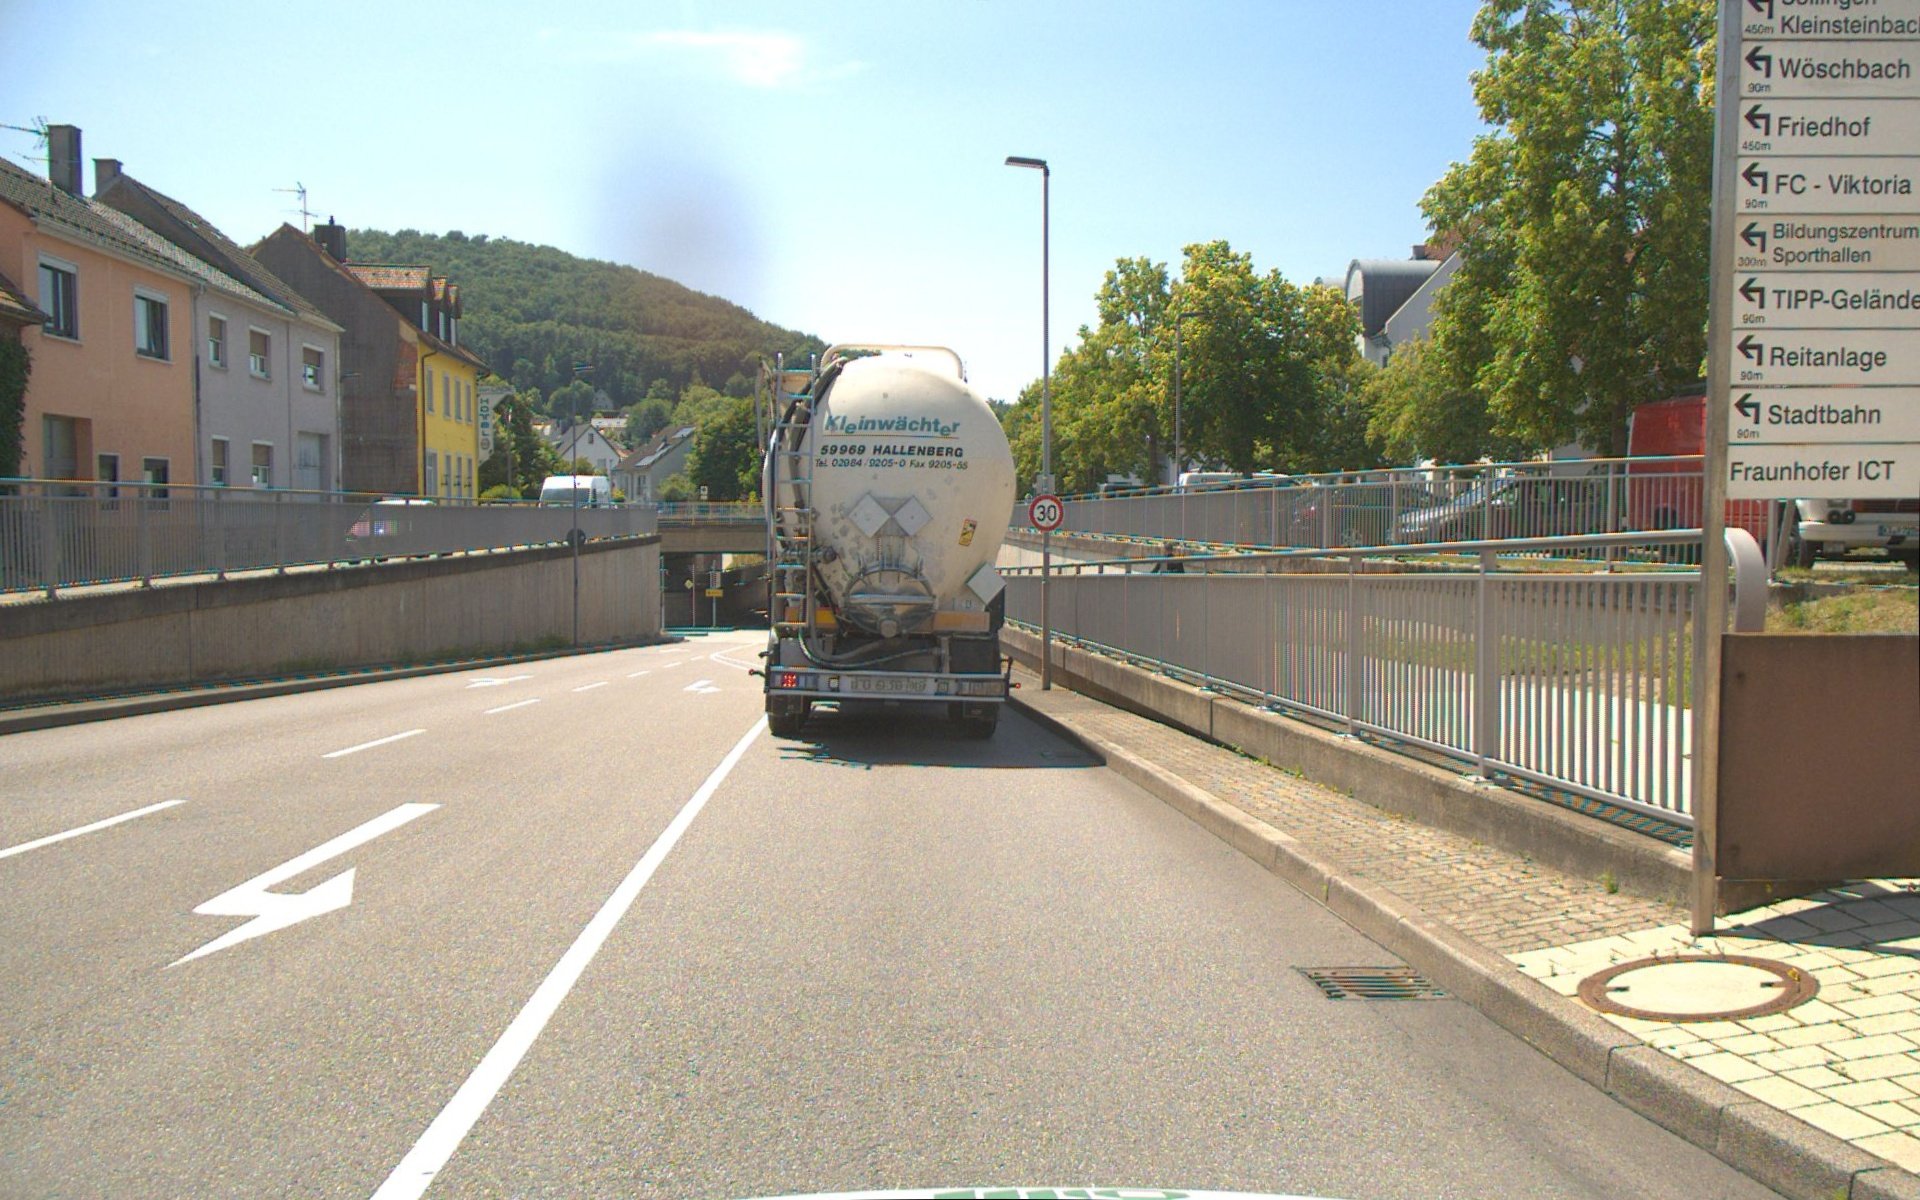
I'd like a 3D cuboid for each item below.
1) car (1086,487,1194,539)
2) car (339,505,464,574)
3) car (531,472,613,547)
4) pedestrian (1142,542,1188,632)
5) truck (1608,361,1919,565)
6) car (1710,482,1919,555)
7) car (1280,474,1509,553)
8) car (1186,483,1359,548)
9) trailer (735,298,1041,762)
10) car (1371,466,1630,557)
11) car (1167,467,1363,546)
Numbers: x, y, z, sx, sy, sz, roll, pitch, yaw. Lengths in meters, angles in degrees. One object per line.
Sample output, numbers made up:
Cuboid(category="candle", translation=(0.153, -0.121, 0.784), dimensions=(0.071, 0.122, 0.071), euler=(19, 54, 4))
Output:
Cuboid(category="car", translation=(6.759, -3.281, 62.344), dimensions=(3.827, 1.917, 1.686), euler=(0, 2, -3))
Cuboid(category="car", translation=(-13.155, -1.459, 39.221), dimensions=(1.777, 1.487, 4.307), euler=(1, 3, -4))
Cuboid(category="car", translation=(-14.425, -3.356, 61.774), dimensions=(2.025, 2.580, 5.658), euler=(1, 3, -4))
Cuboid(category="pedestrian", translation=(4.186, -0.267, 33.828), dimensions=(0.819, 1.813, 0.788), euler=(0, 0, -3))
Cuboid(category="truck", translation=(10.884, -1.725, 22.072), dimensions=(2.090, 2.374, 5.257), euler=(0, 3, -4))
Cuboid(category="car", translation=(19.666, -1.867, 37.769), dimensions=(4.318, 1.515, 1.757), euler=(-2, 2, -3))
Cuboid(category="car", translation=(8.662, -1.730, 33.167), dimensions=(4.120, 1.524, 1.686), euler=(0, 2, -3))
Cuboid(category="car", translation=(8.039, -2.178, 42.701), dimensions=(4.120, 1.623, 1.686), euler=(0, 2, -3))
Cuboid(category="trailer", translation=(-0.957, -0.595, 21.639), dimensions=(2.680, 4.135, 13.305), euler=(1, 0, -3))
Cuboid(category="car", translation=(9.307, -1.530, 28.676), dimensions=(3.907, 1.524, 1.748), euler=(0, 2, -3))
Cuboid(category="car", translation=(8.336, -2.564, 45.519), dimensions=(5.010, 2.099, 1.988), euler=(0, 2, -3))
